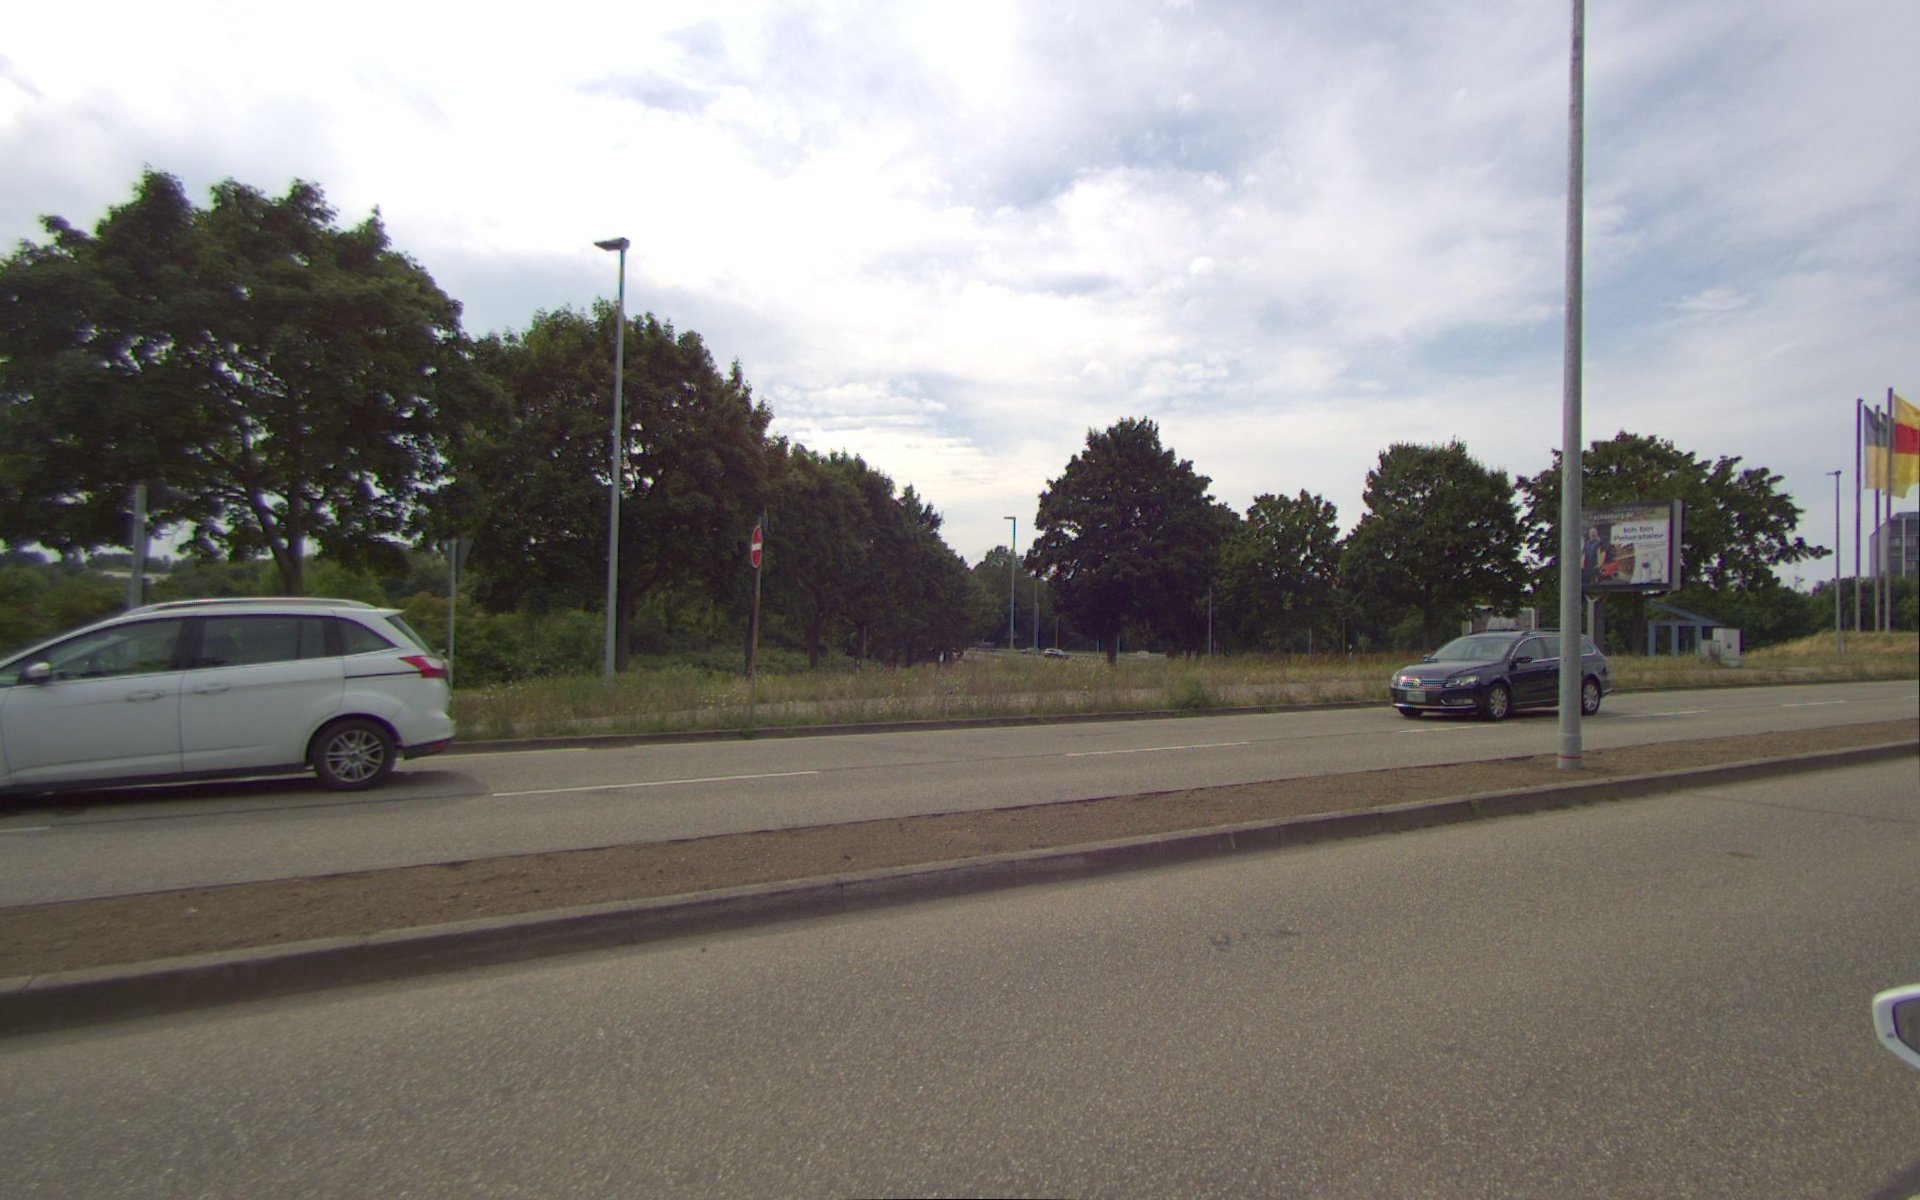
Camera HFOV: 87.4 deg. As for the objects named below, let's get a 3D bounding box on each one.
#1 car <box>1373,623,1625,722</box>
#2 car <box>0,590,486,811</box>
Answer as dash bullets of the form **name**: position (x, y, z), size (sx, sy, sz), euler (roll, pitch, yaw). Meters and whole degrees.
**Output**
- **car**: position (9.543, 1.217, 17.680), size (4.686, 1.552, 1.760), euler (2, -2, -31)
- **car**: position (-6.825, 0.826, 8.930), size (4.585, 1.675, 1.760), euler (2, -3, -31)
